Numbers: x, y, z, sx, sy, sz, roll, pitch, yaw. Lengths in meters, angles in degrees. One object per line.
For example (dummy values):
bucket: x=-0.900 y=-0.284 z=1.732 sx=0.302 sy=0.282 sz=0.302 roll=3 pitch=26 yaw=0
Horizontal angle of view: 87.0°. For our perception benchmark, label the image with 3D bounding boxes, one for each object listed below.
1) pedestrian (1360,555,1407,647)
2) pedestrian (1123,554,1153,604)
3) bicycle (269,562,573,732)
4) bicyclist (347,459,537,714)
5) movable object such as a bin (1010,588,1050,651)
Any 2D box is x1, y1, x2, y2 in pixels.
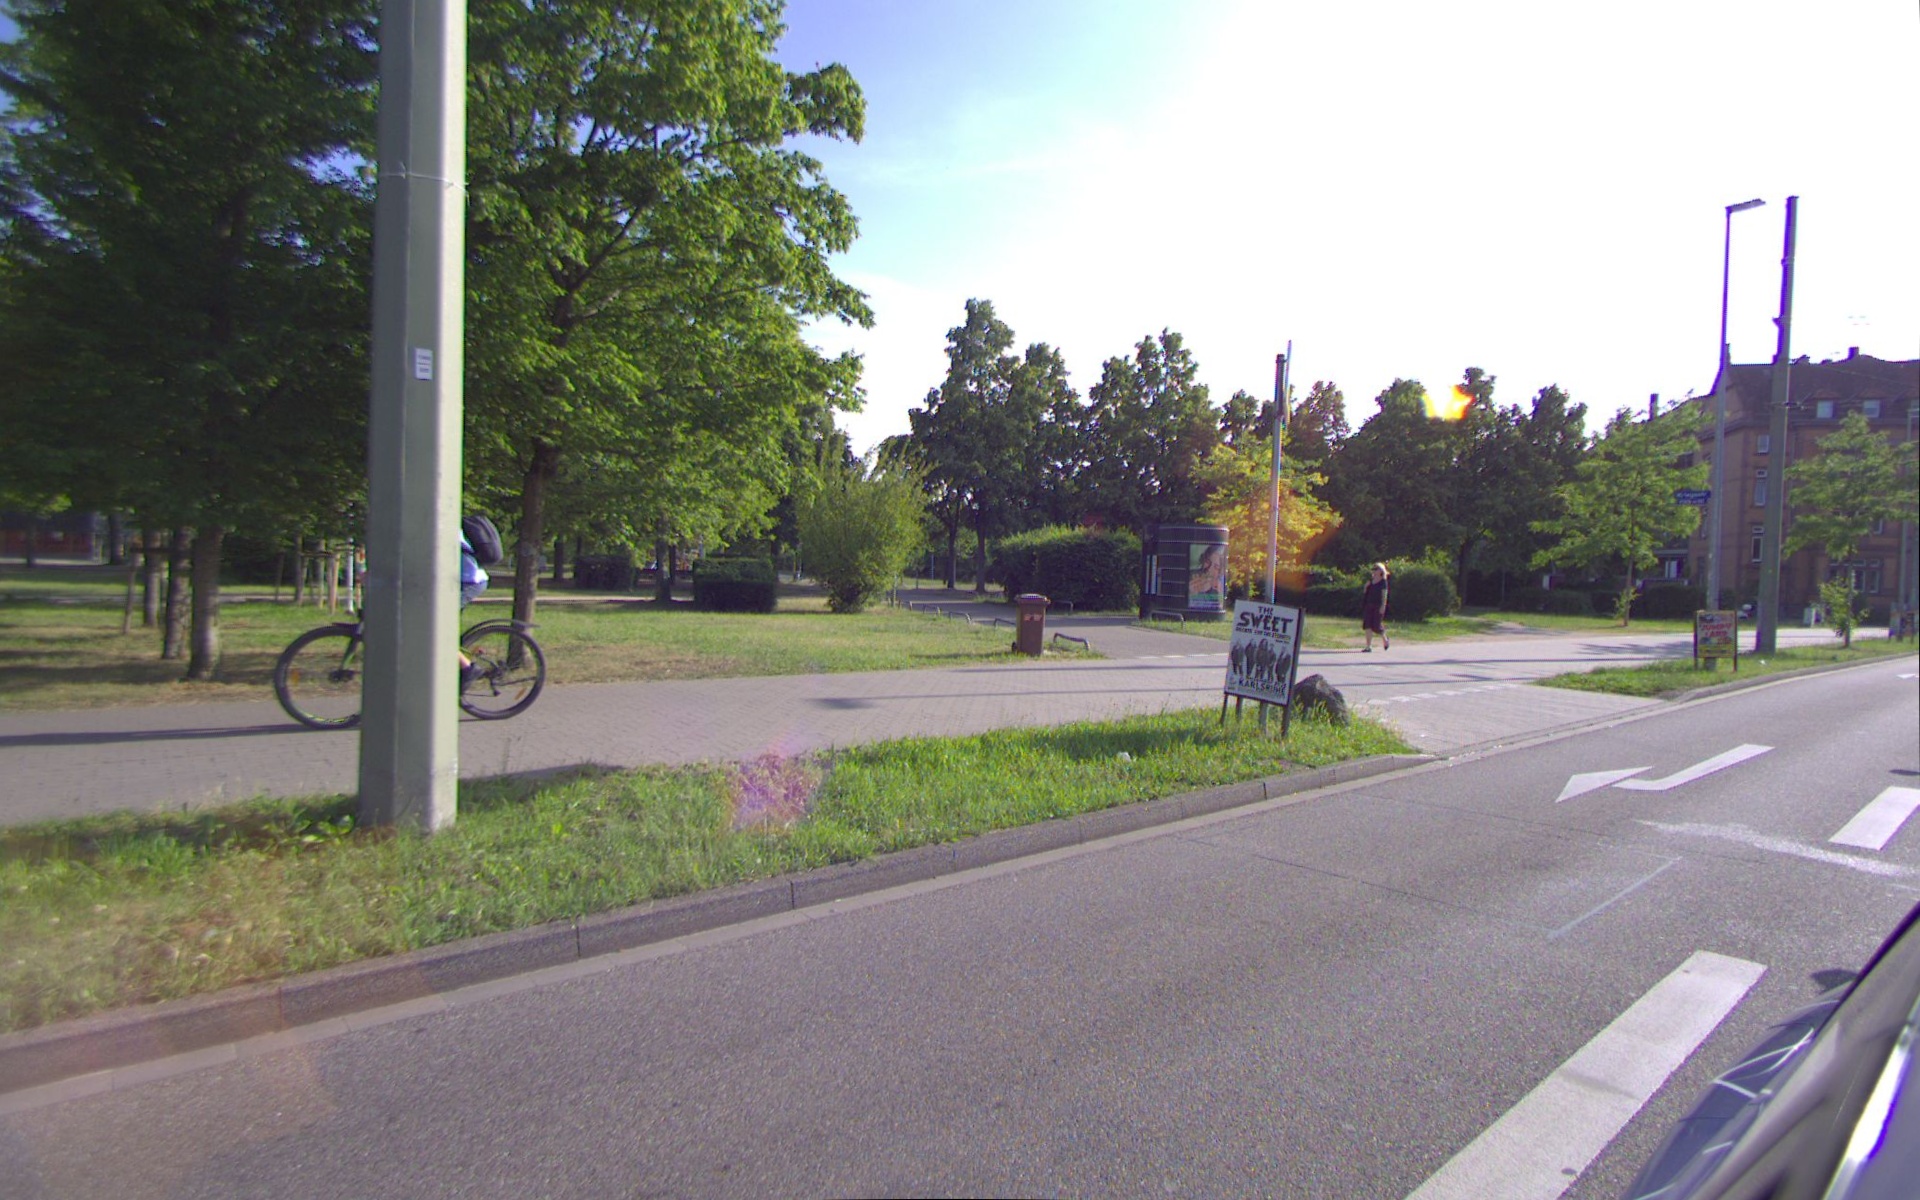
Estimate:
pedestrian: x=8.174 y=0.012 z=19.548 sx=0.651 sy=1.722 sz=0.558 roll=1 pitch=2 yaw=-41
pedestrian: x=7.899 y=-0.922 z=44.887 sx=0.872 sy=2.184 sz=0.914 roll=1 pitch=1 yaw=-28
bicycle: x=-4.001 y=0.307 z=7.612 sx=1.906 sy=1.101 sz=0.642 roll=0 pitch=4 yaw=-42
bicyclist: x=-3.899 y=-0.121 z=7.632 sx=1.120 sy=1.766 sz=0.650 roll=0 pitch=5 yaw=-42
movable object such as a bin: x=1.057 y=0.286 z=15.323 sx=0.514 sy=0.915 sz=0.504 roll=2 pitch=1 yaw=-2
